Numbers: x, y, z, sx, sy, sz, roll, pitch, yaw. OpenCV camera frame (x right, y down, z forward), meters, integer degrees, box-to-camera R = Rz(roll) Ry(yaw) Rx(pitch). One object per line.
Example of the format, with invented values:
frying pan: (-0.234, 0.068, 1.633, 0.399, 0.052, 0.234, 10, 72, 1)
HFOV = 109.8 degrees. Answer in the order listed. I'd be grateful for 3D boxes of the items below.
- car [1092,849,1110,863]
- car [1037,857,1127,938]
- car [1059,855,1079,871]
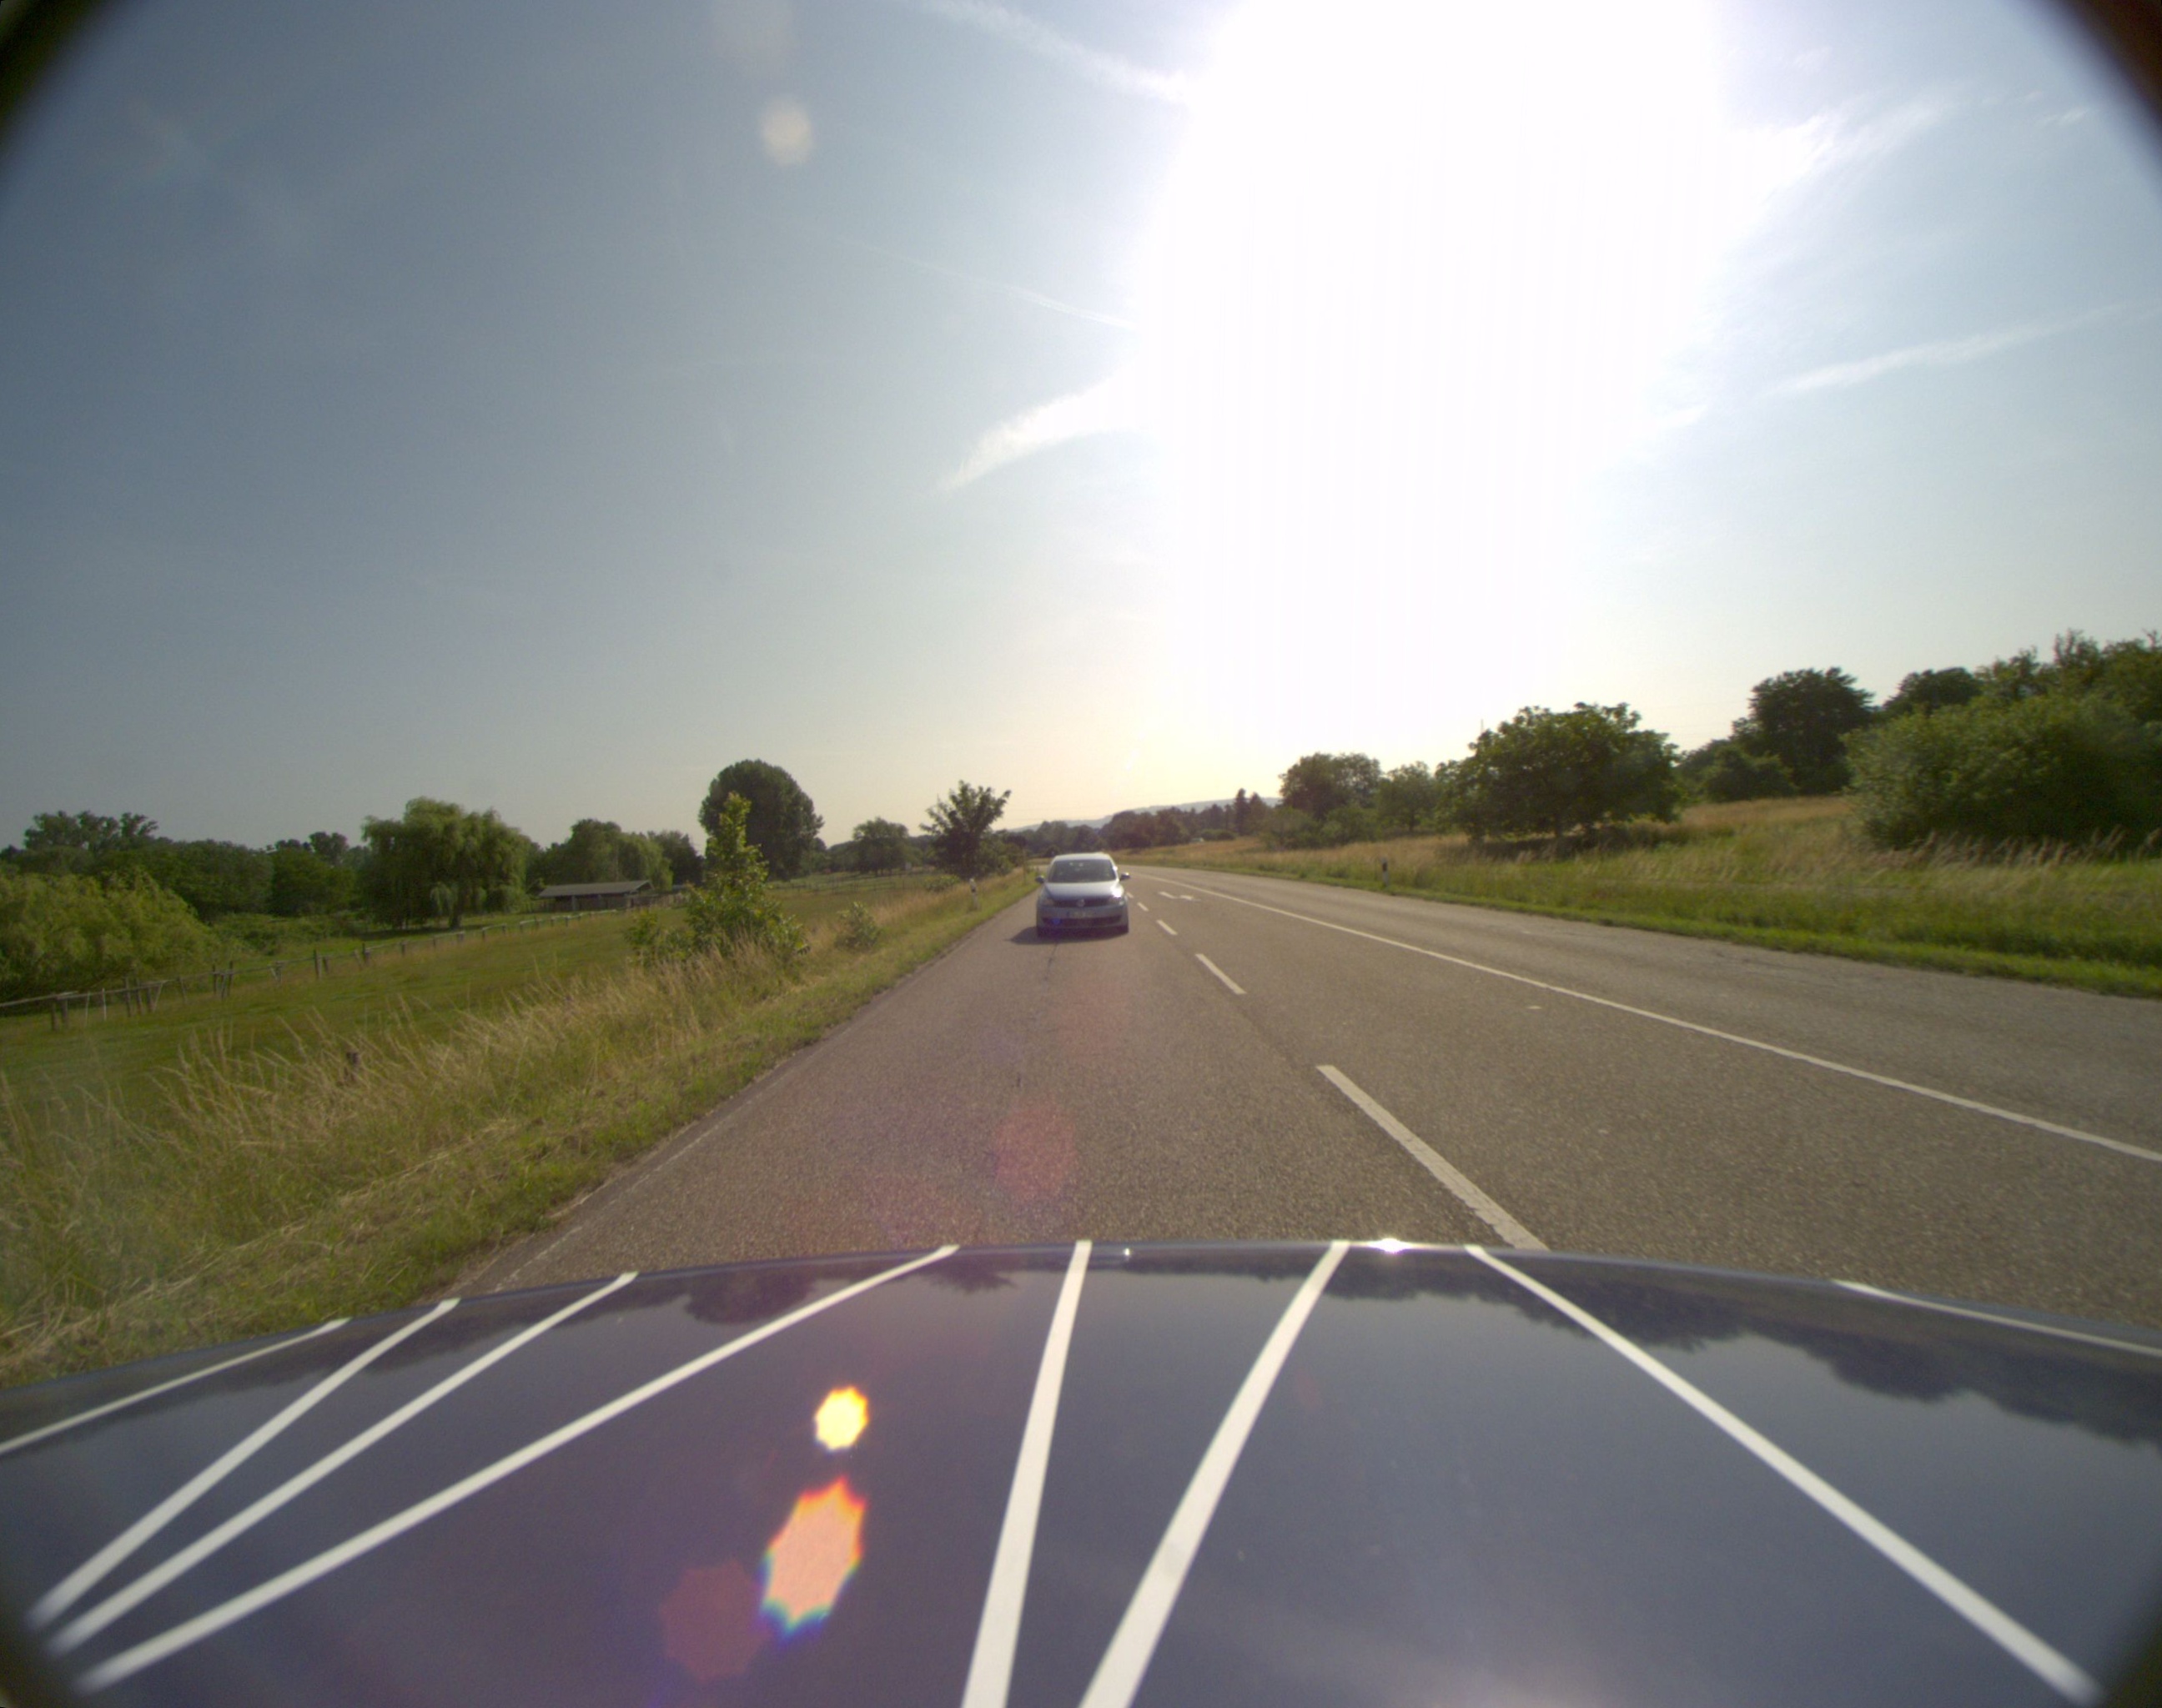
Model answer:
car: (2.360, 0.205, 90.442, 1.817, 1.576, 4.223, -3, 0, -2)
car: (0.072, 0.859, 16.996, 1.718, 1.495, 4.094, -2, 0, 2)
car: (-1.380, 1.006, 85.603, 1.999, 1.571, 3.908, -5, 1, -2)
